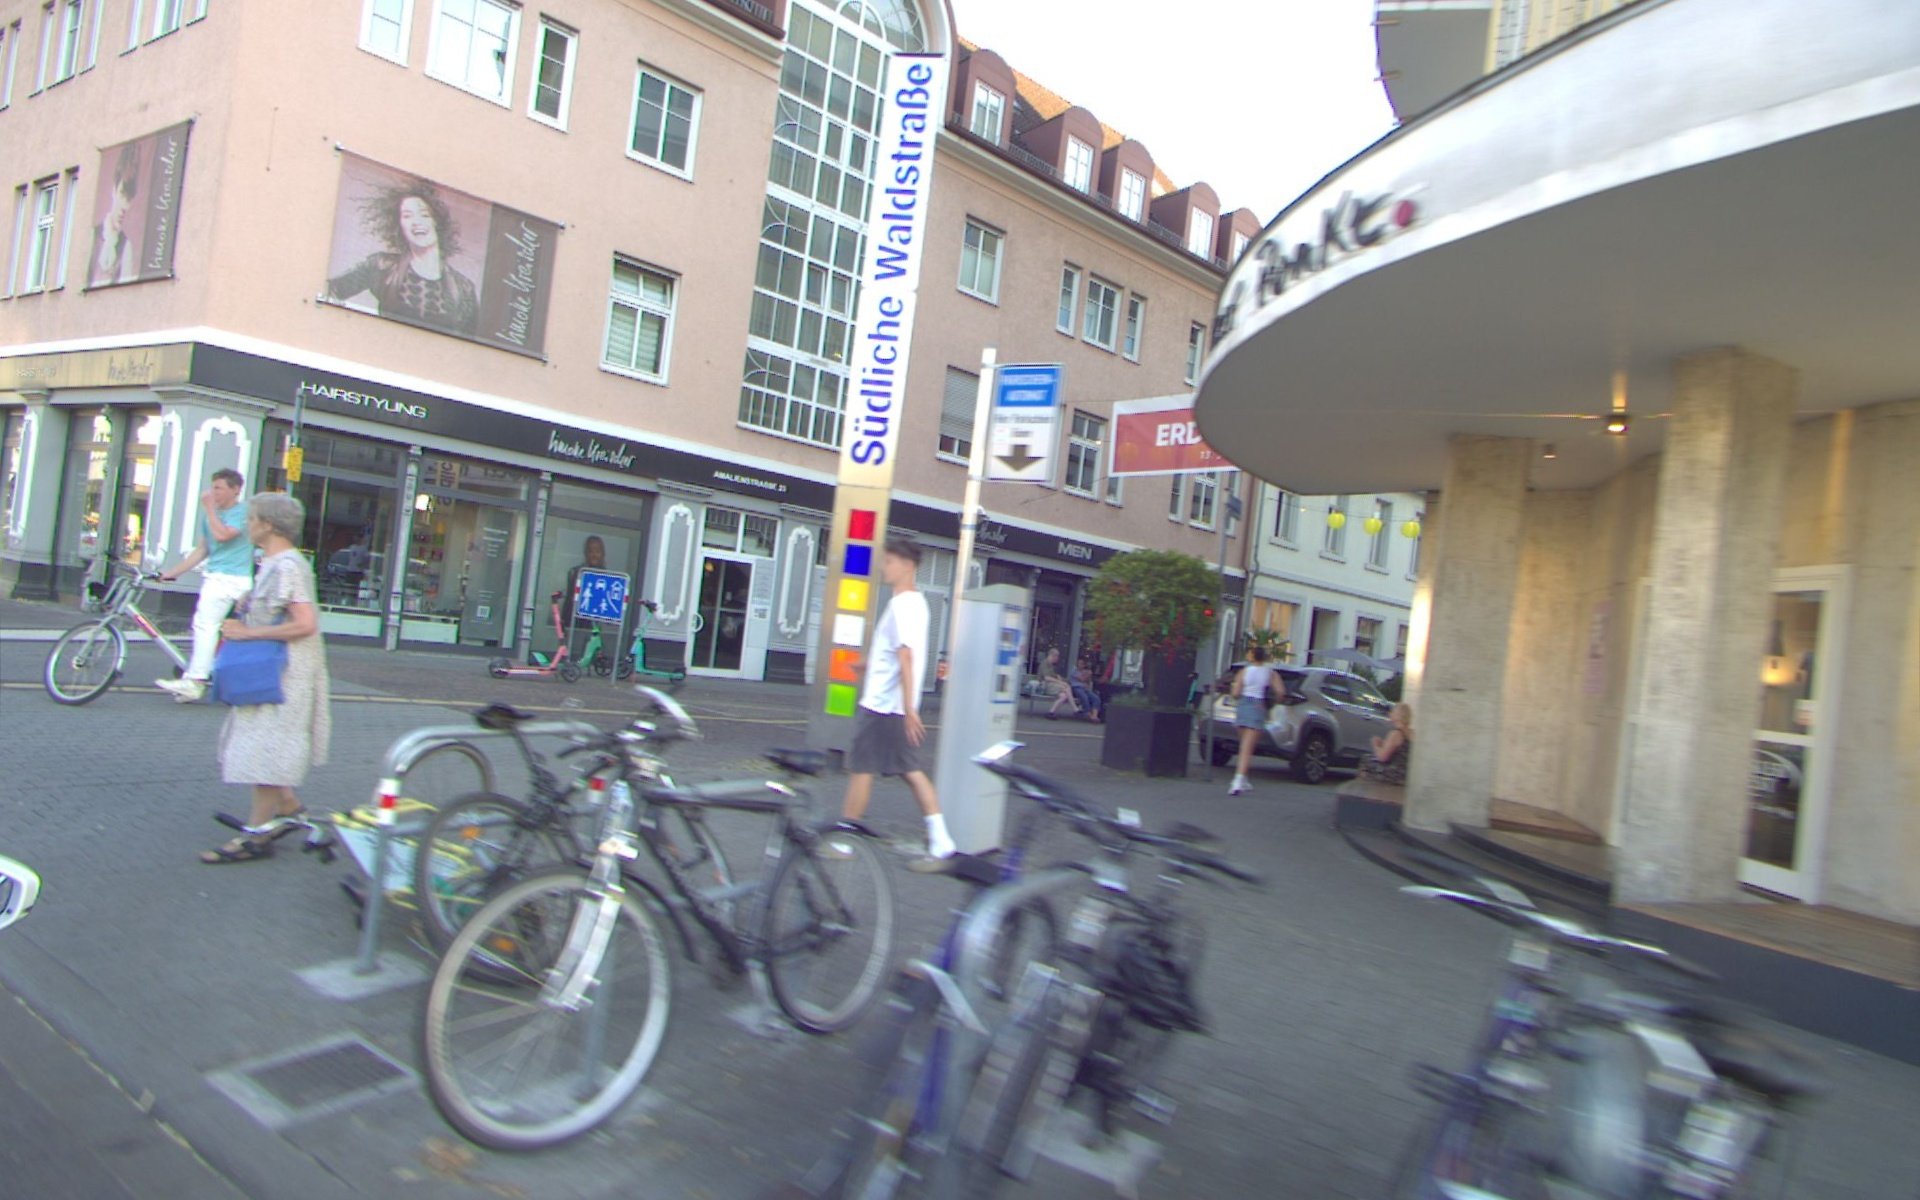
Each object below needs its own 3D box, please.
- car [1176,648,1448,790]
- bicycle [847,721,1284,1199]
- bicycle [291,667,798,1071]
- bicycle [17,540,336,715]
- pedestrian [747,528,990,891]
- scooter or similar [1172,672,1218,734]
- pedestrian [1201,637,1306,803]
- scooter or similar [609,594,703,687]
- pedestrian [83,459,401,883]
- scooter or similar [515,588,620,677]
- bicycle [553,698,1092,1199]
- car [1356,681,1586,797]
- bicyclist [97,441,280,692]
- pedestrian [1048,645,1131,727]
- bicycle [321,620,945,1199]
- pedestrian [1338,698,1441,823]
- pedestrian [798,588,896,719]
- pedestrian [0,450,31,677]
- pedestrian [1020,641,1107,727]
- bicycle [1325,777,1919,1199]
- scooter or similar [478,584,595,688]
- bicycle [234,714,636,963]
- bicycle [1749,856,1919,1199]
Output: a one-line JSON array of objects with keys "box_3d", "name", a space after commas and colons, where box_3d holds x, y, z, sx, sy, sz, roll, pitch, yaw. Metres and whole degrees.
[{"box_3d": [5.183, 1.763, 14.611, 3.960, 1.610, 1.816, 9, -2, -39], "name": "car"}, {"box_3d": [0.400, 0.998, 2.552, 0.611, 1.187, 1.788, 7, 0, 20], "name": "bicycle"}, {"box_3d": [-1.438, 0.853, 3.910, 0.705, 1.077, 1.788, 7, 0, 20], "name": "bicycle"}, {"box_3d": [-6.249, 0.259, 8.112, 0.782, 1.200, 1.818, 6, -1, 40], "name": "bicycle"}, {"box_3d": [-0.521, 0.575, 5.678, 0.820, 1.838, 0.861, 7, -1, -41], "name": "pedestrian"}, {"box_3d": [5.132, 2.239, 22.018, 0.388, 1.198, 1.304, 7, -1, -9], "name": "scooter or similar"}, {"box_3d": [3.258, 1.312, 11.148, 0.743, 1.688, 0.731, 7, -1, 34], "name": "pedestrian"}, {"box_3d": [-4.665, 0.633, 15.456, 1.193, 1.275, 0.360, 8, -1, -34], "name": "scooter or similar"}, {"box_3d": [-3.151, 0.313, 4.523, 0.780, 1.673, 0.778, 7, -1, -16], "name": "pedestrian"}, {"box_3d": [-5.813, 0.489, 14.914, 1.293, 1.156, 0.361, 8, -1, -32], "name": "scooter or similar"}, {"box_3d": [-0.197, 0.939, 2.761, 0.611, 1.187, 1.788, 7, 0, 20], "name": "bicycle"}, {"box_3d": [9.232, 2.529, 18.034, 4.408, 1.603, 1.925, 9, -2, -39], "name": "car"}, {"box_3d": [-6.187, -0.253, 8.077, 0.819, 1.847, 0.833, 7, -1, 39], "name": "bicyclist"}, {"box_3d": [2.602, 1.720, 20.177, 1.209, 1.429, 0.890, 9, 0, 32], "name": "pedestrian"}, {"box_3d": [-0.808, 0.775, 3.145, 0.628, 1.254, 1.848, 7, -1, 26], "name": "bicycle"}, {"box_3d": [4.605, 1.708, 10.798, 0.633, 1.198, 0.697, 8, -2, -41], "name": "pedestrian"}, {"box_3d": [-1.671, 0.803, 14.993, 0.811, 1.796, 1.100, 7, -1, 24], "name": "pedestrian"}, {"box_3d": [-8.536, -0.354, 8.204, 0.811, 1.920, 0.941, 7, -1, 0], "name": "pedestrian"}, {"box_3d": [2.000, 1.614, 19.371, 1.209, 1.429, 0.890, 9, 0, 32], "name": "pedestrian"}, {"box_3d": [1.283, 1.104, 2.214, 0.791, 1.088, 2.175, 7, -1, 24], "name": "bicycle"}, {"box_3d": [-5.629, 0.494, 13.403, 1.247, 1.228, 0.463, 8, -1, -36], "name": "scooter or similar"}, {"box_3d": [-2.145, 0.917, 4.213, 1.031, 0.689, 1.008, 7, -1, 22], "name": "bicycle"}, {"box_3d": [2.158, 1.240, 1.780, 0.584, 1.137, 1.850, 6, -1, 20], "name": "bicycle"}]
